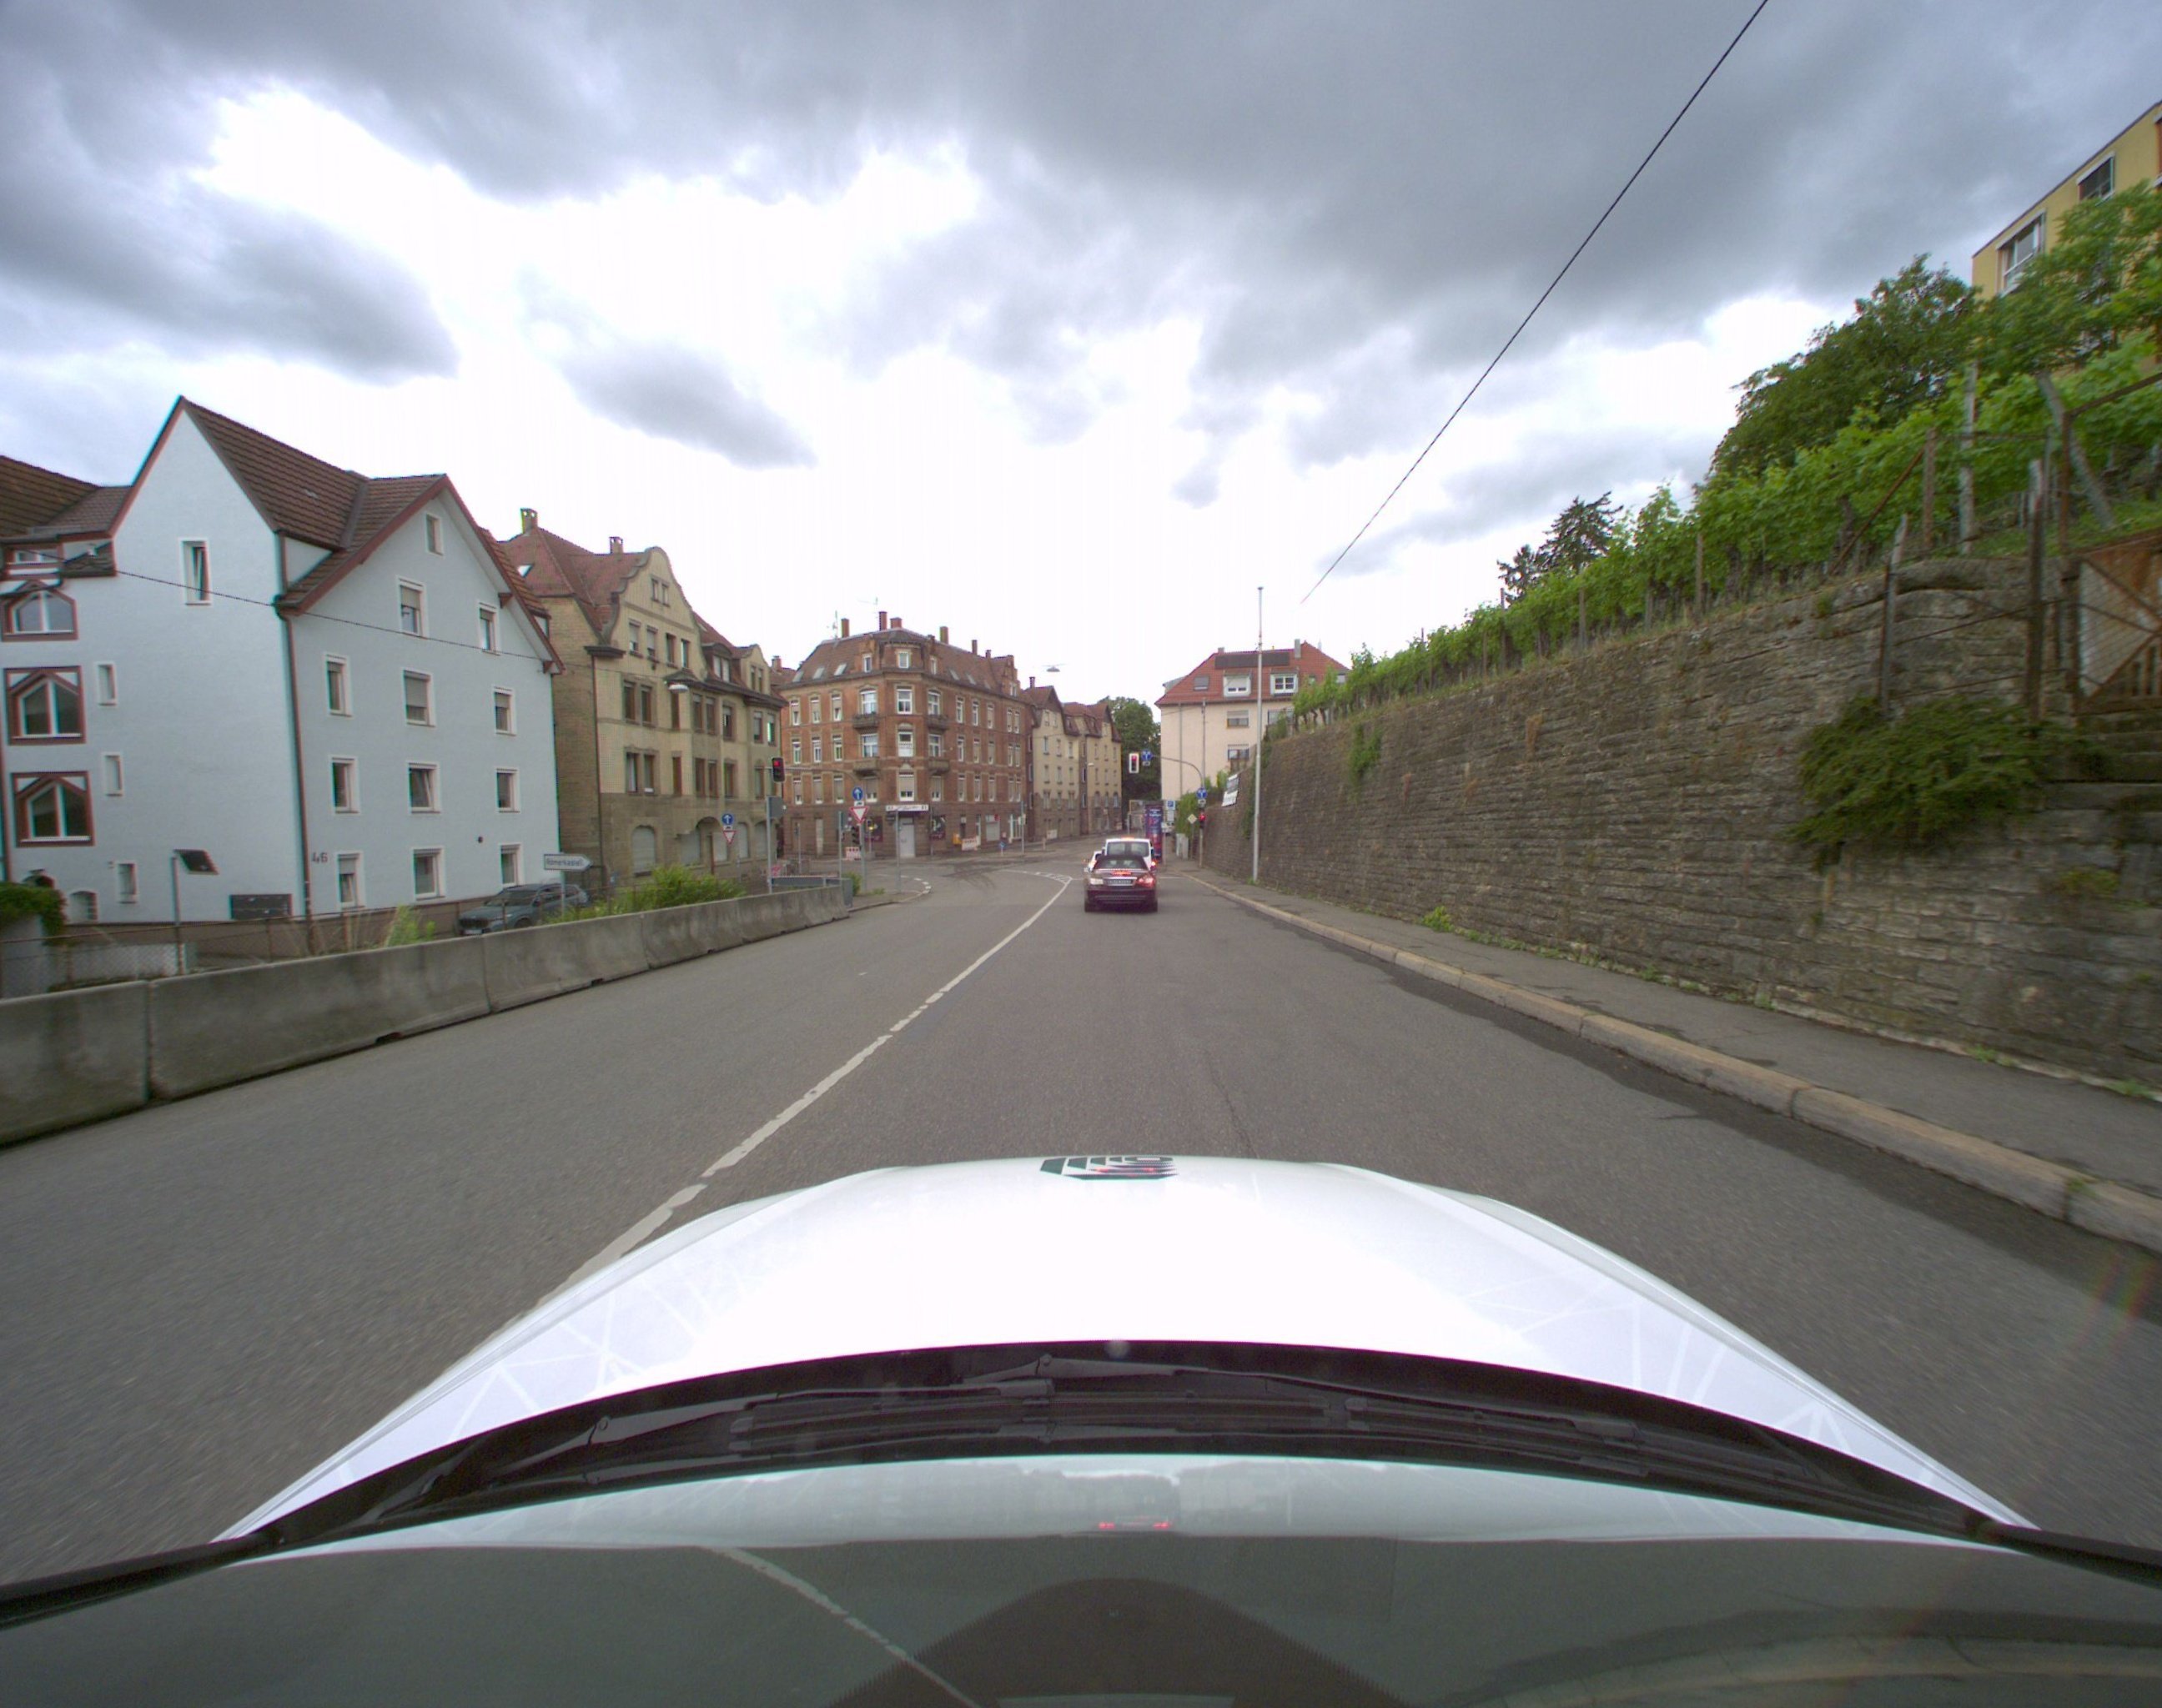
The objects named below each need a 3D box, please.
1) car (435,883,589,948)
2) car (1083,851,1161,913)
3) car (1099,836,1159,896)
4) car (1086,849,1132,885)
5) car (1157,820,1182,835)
[{"bbox_3d":[-18.034,1.881,26.067,1.786,1.608,4.005,-3,1,5],"label":"car"},{"bbox_3d":[1.011,0.651,20.930,1.810,1.430,4.001,0,0,1],"label":"car"},{"bbox_3d":[1.572,0.359,27.825,1.902,1.884,4.001,0,0,1],"label":"car"},{"bbox_3d":[1.166,0.511,34.658,1.834,1.441,4.001,0,0,1],"label":"car"},{"bbox_3d":[10.614,-3.144,97.616,1.825,1.702,4.023,0,2,23],"label":"car"}]
